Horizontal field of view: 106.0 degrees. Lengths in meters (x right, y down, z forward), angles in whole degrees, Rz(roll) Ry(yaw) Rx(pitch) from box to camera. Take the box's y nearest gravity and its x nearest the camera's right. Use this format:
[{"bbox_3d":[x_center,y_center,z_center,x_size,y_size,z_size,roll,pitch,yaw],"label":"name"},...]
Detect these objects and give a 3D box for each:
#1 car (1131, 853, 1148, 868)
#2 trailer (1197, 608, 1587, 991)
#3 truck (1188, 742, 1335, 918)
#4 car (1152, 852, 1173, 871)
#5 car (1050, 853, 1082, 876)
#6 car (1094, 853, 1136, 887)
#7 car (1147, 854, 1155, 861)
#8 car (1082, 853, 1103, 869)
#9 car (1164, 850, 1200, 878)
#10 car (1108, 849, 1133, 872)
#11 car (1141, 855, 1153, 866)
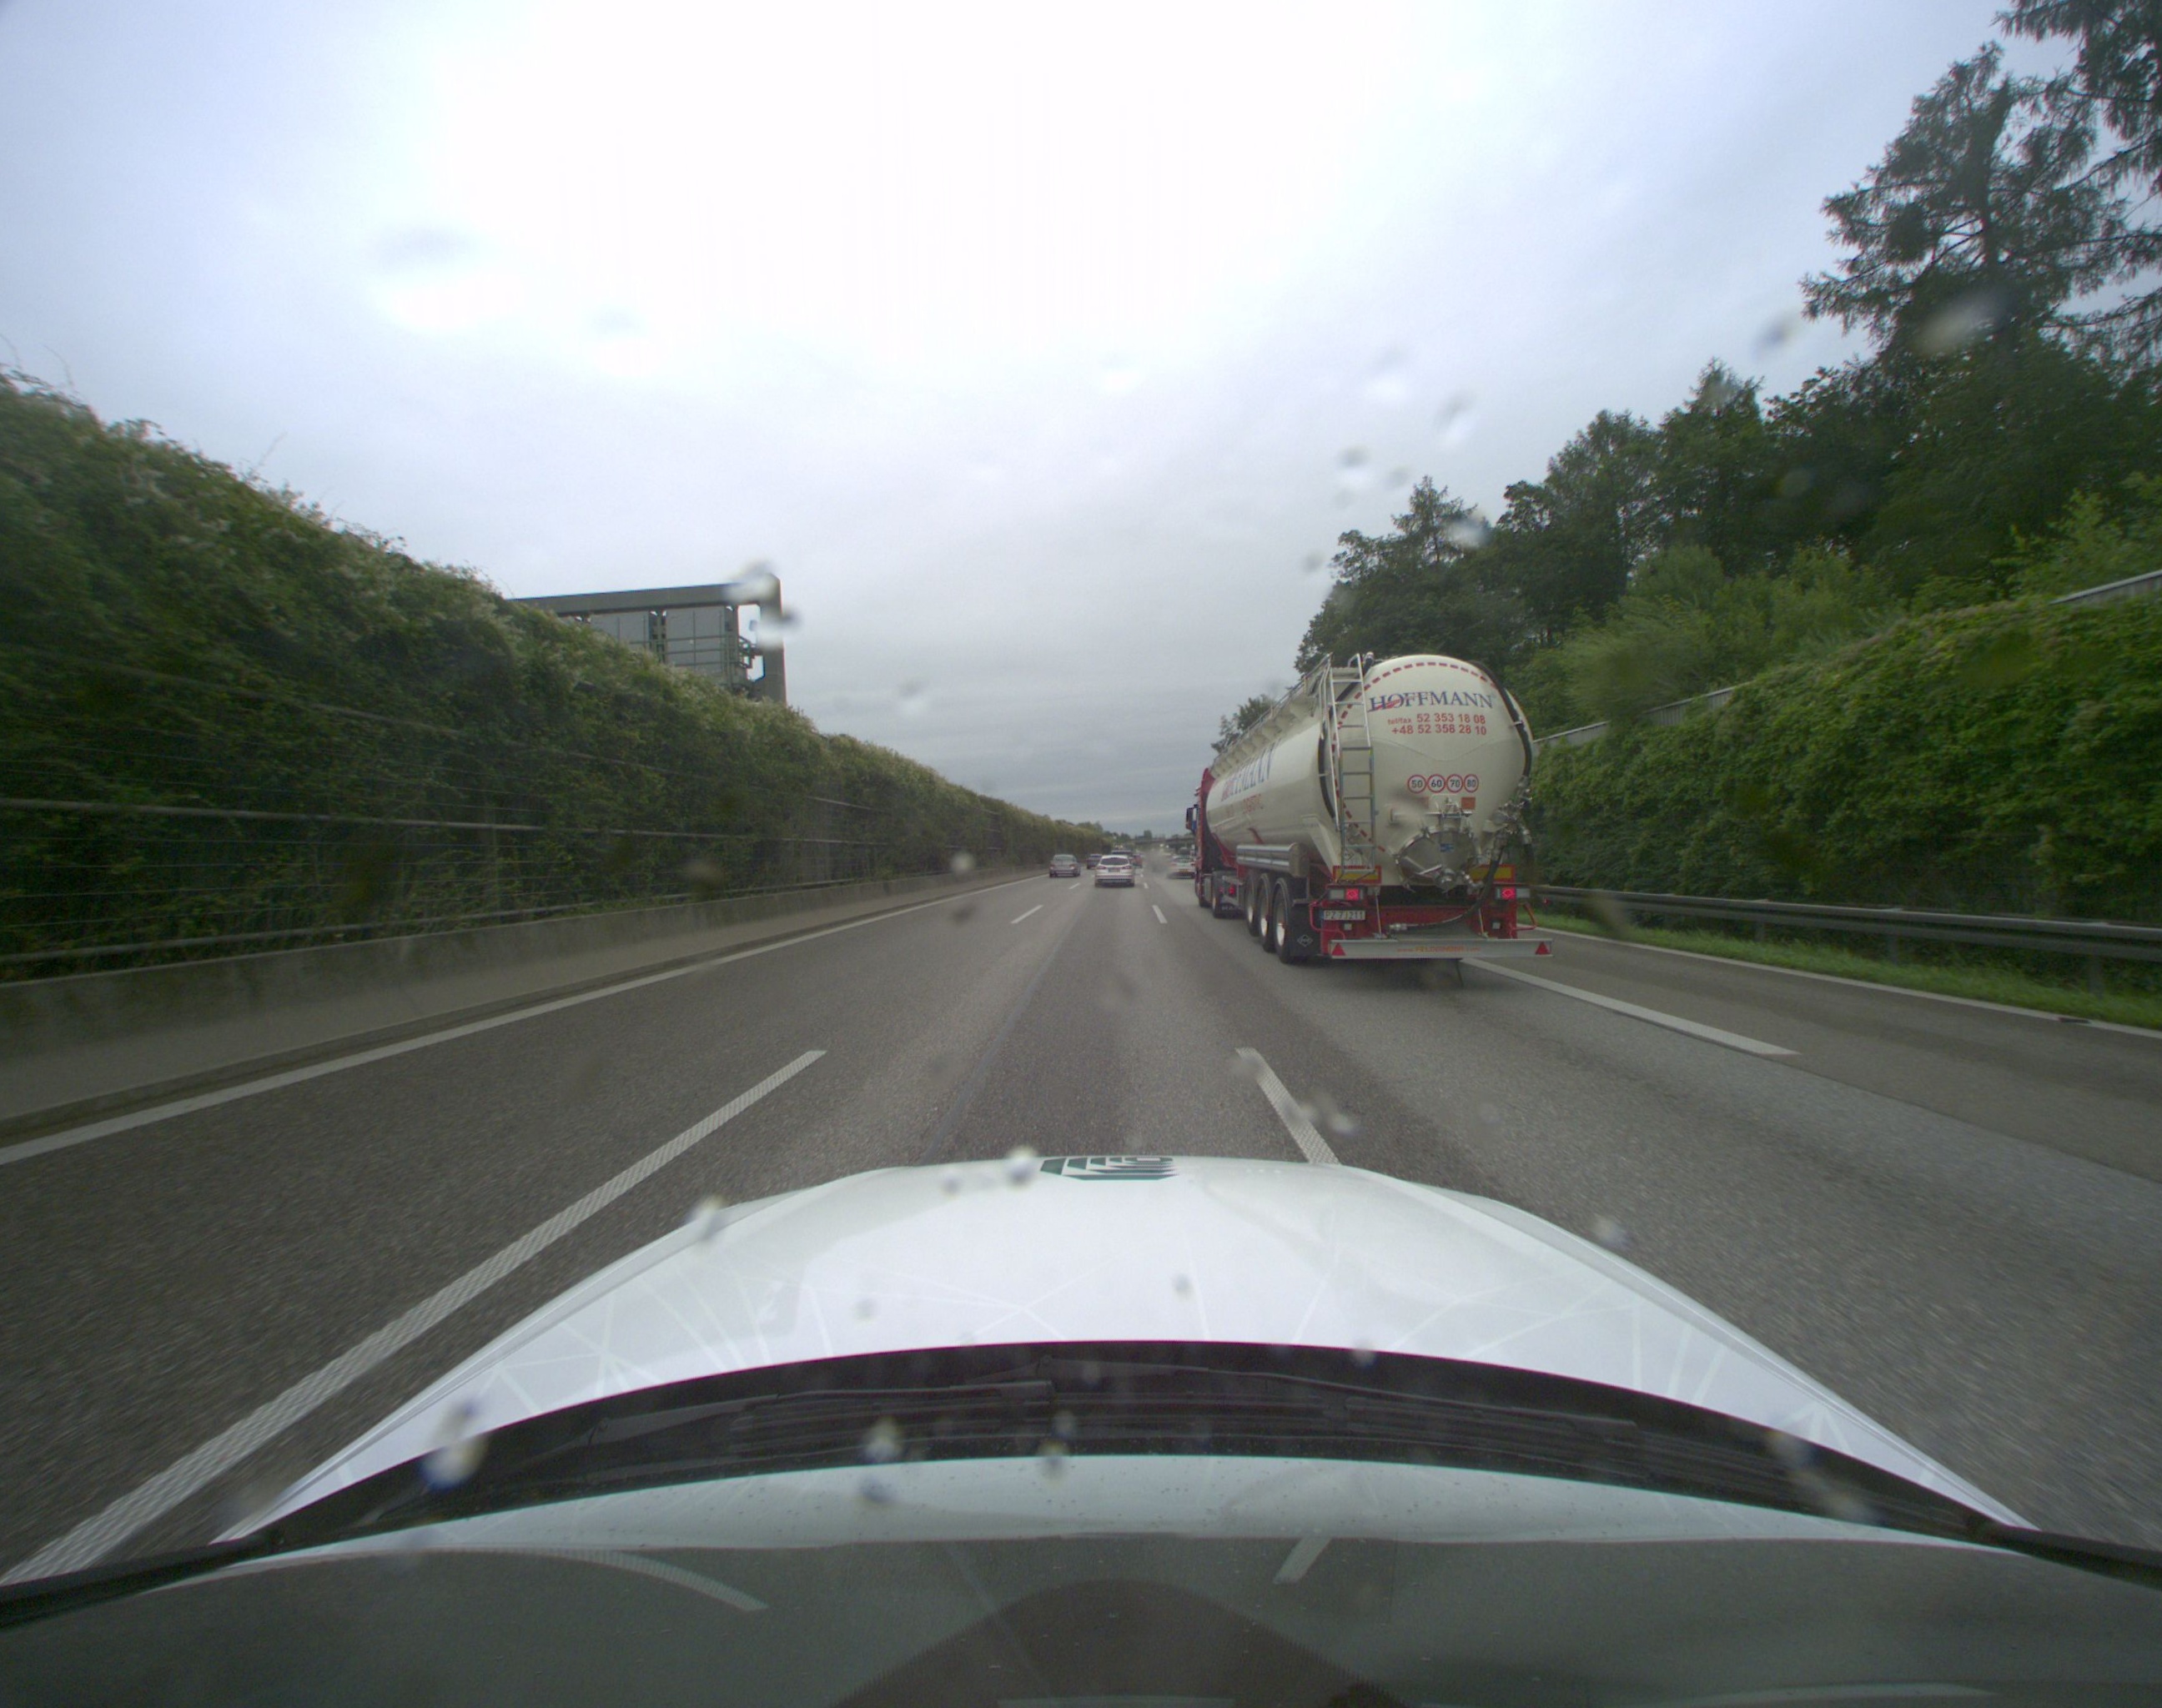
[{"bbox_3d":[6.078,0.613,84.598,1.681,1.506,3.875,-1,0,4],"label":"car"},{"bbox_3d":[4.159,-0.514,15.048,2.657,3.939,13.137,-1,-1,3],"label":"trailer"},{"bbox_3d":[4.507,-0.515,21.664,2.684,3.912,6.561,-1,-1,3],"label":"truck"},{"bbox_3d":[6.858,0.654,68.593,1.681,1.506,3.877,-1,-1,5],"label":"car"},{"bbox_3d":[-0.985,0.723,54.914,1.712,1.469,5.035,-1,-1,4],"label":"car"},{"bbox_3d":[1.657,0.706,38.750,1.884,1.504,5.034,-1,0,3],"label":"car"},{"bbox_3d":[14.240,0.699,165.366,1.681,1.539,3.876,-1,0,5],"label":"car"},{"bbox_3d":[1.179,0.686,80.720,1.712,1.512,5.036,-1,0,4],"label":"car"},{"bbox_3d":[6.145,0.583,50.093,1.808,1.625,5.034,-1,0,3],"label":"car"},{"bbox_3d":[2.858,0.462,58.979,1.682,1.506,3.875,3,1,3],"label":"car"},{"bbox_3d":[11.003,1.095,135.078,1.780,1.779,3.879,-2,-1,7],"label":"car"}]
